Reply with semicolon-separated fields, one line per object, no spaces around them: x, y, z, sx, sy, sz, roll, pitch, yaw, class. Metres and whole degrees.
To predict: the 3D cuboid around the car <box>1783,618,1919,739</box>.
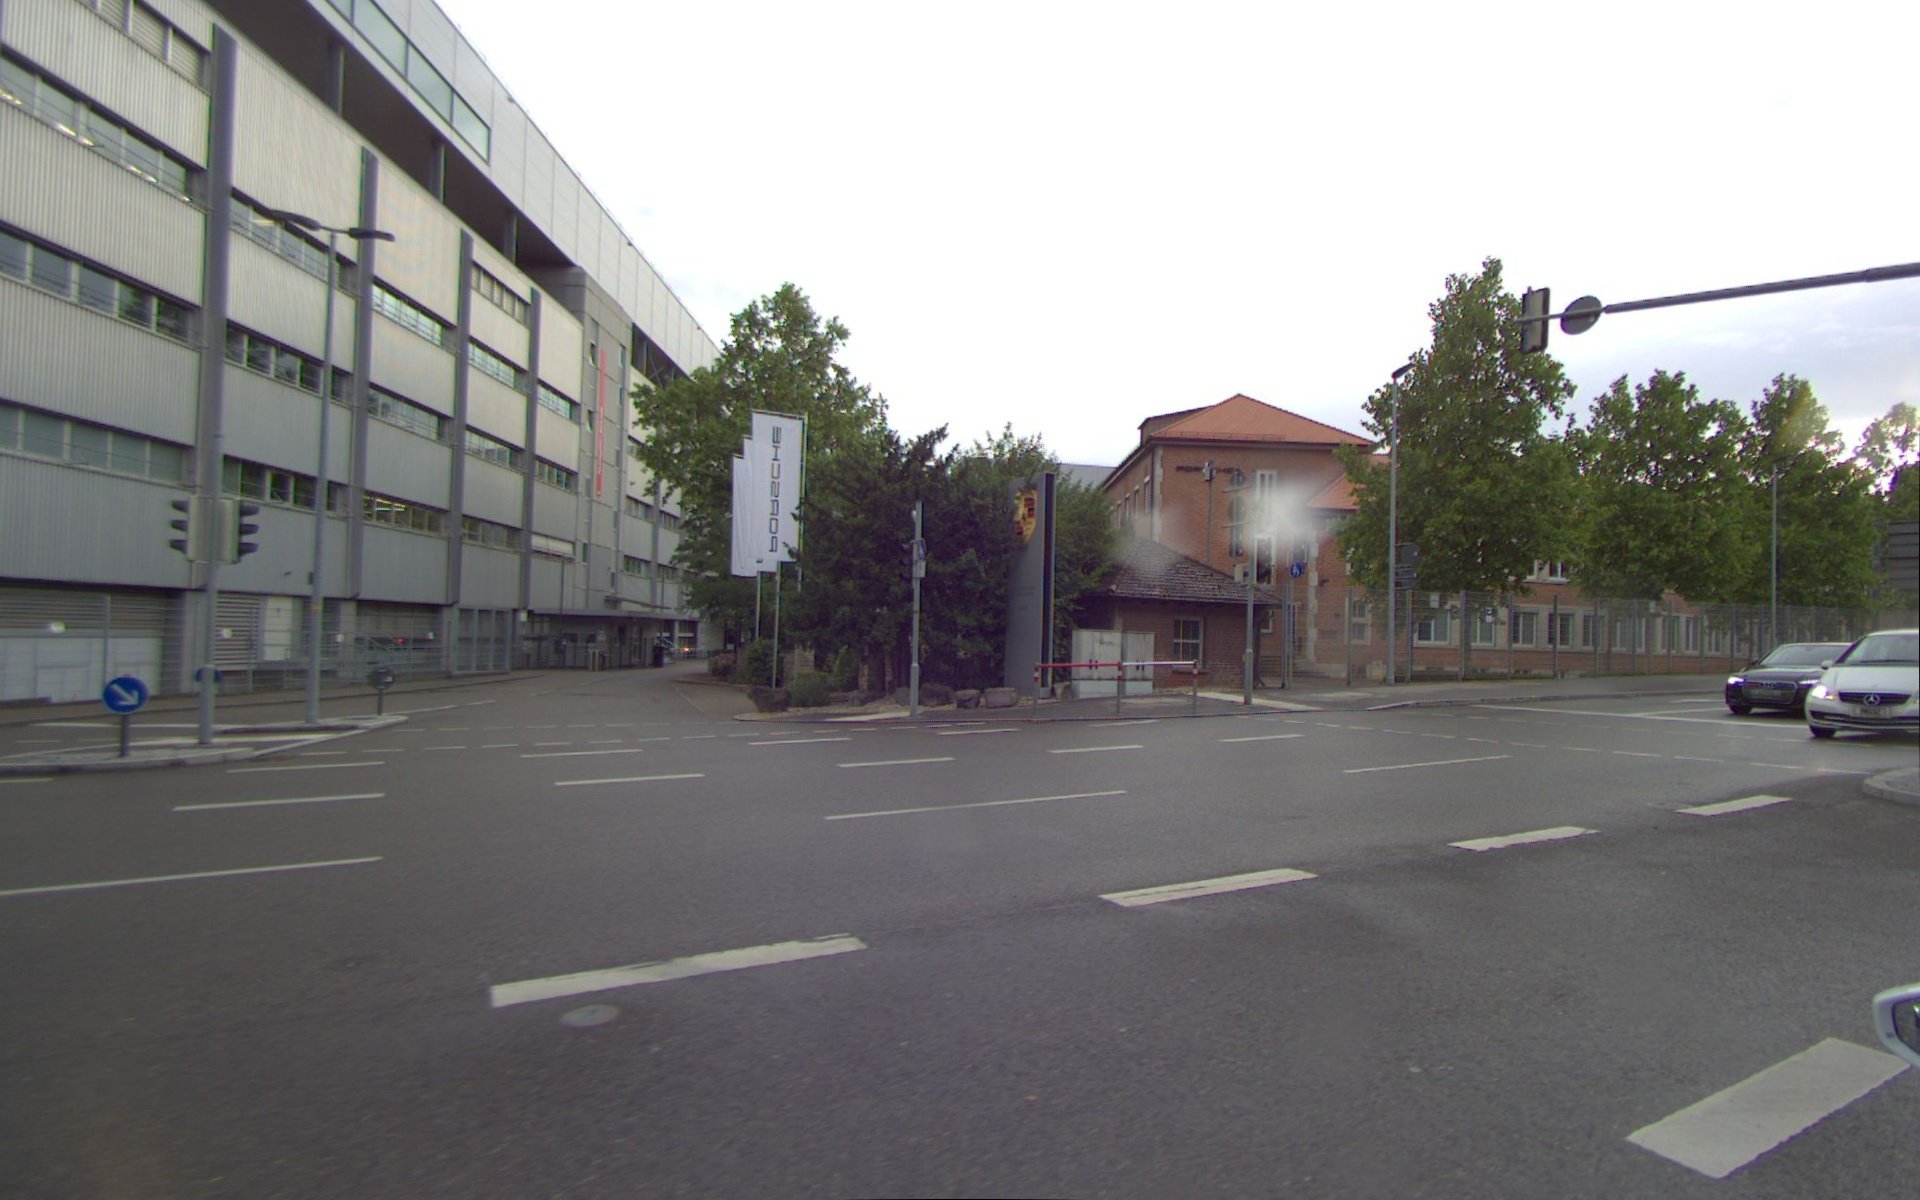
14.433;1.129;15.058;4.431;1.610;1.764;2;-3;-29;car

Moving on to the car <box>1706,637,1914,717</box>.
16.897;1.455;19.917;4.561;1.422;1.765;2;-2;-31;car
